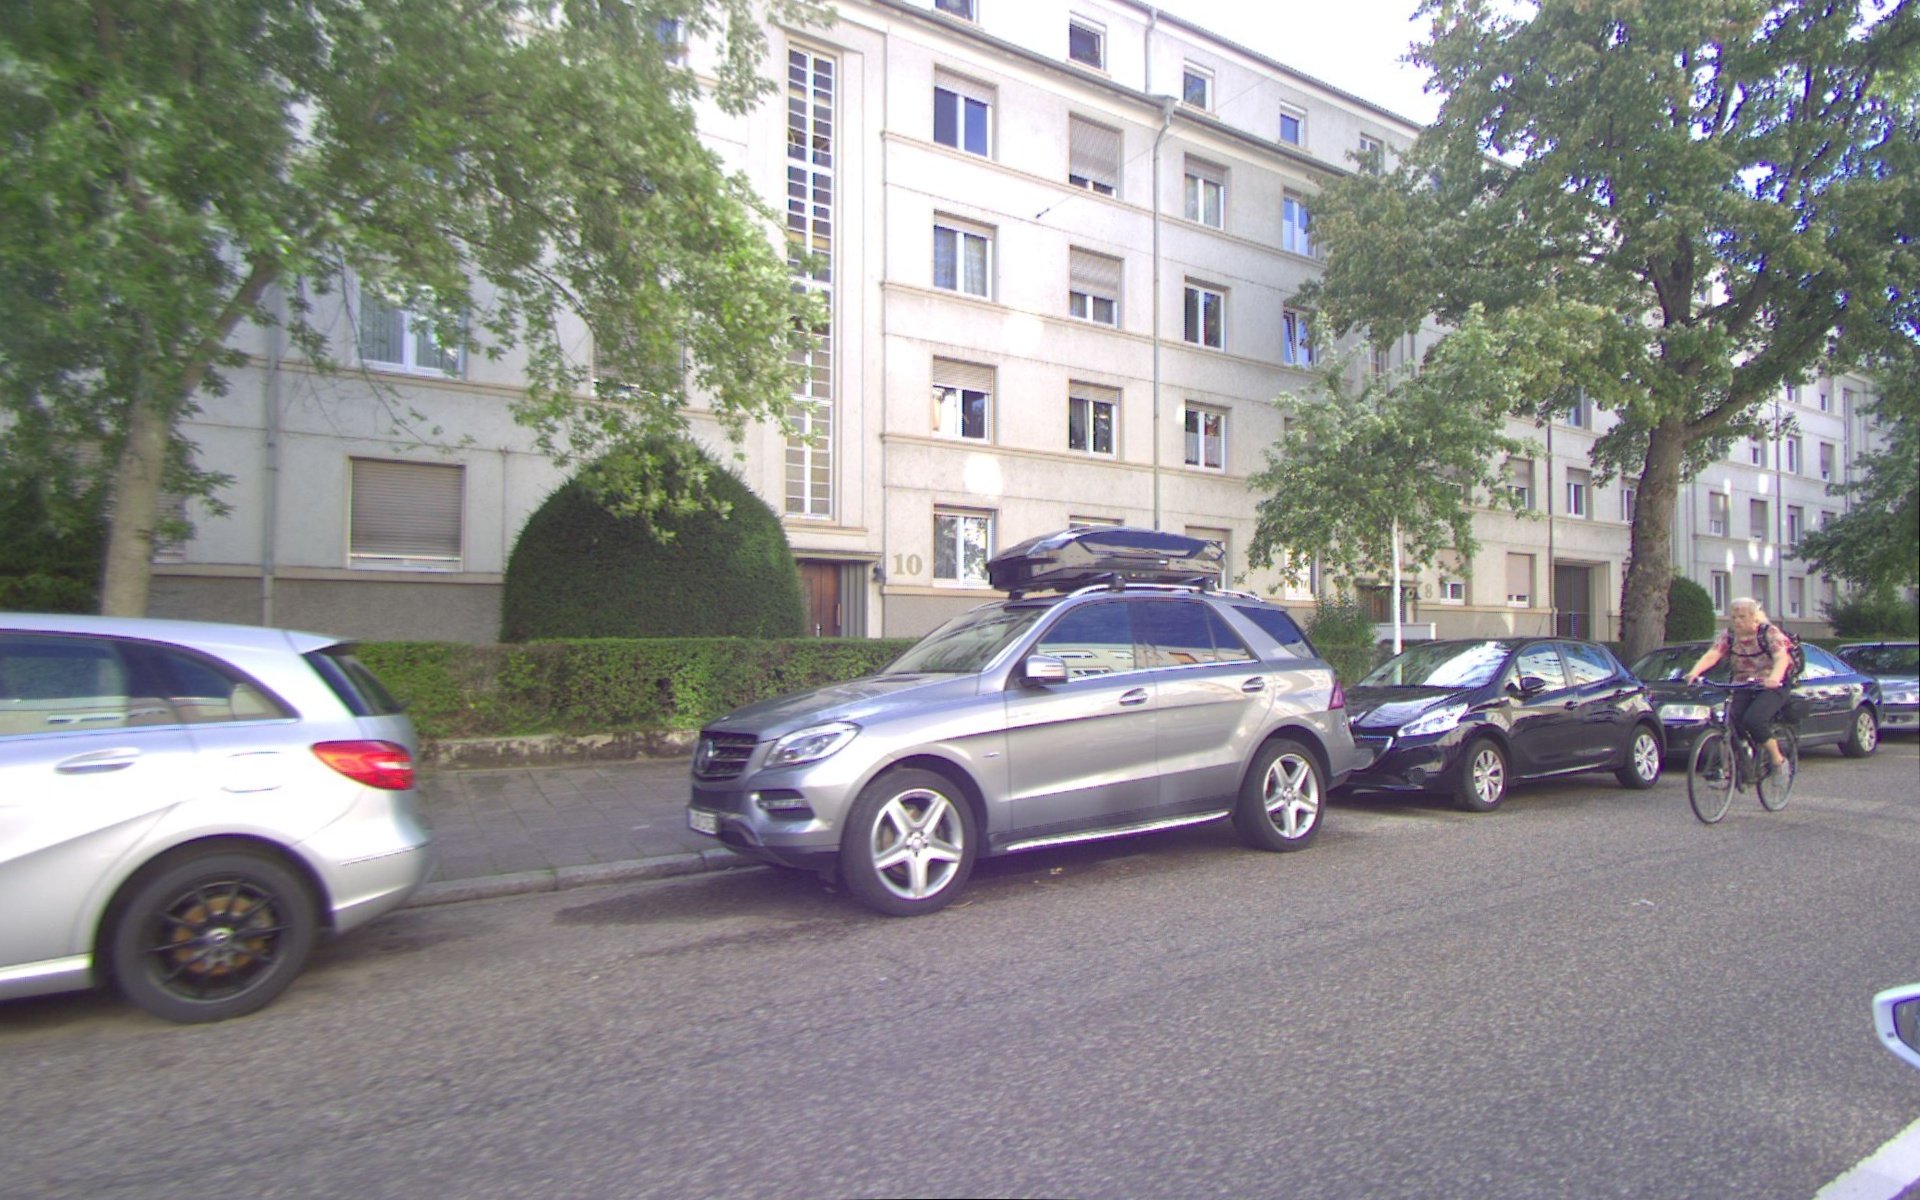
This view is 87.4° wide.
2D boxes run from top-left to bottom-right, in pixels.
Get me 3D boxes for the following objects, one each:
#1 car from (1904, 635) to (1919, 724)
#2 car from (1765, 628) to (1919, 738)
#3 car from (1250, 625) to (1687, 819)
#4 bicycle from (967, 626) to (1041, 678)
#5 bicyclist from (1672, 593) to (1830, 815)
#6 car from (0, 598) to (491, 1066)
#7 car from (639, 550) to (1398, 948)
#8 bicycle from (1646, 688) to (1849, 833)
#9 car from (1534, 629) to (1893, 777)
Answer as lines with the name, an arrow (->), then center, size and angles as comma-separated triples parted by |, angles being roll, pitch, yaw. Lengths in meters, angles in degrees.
car -> 18.017, 1.311, 17.316 | 3.971, 1.487, 1.605 | 1, -5, -33
car -> 13.771, 1.188, 14.891 | 3.920, 1.437, 1.593 | 1, -5, -32
car -> 4.884, 1.060, 9.558 | 4.069, 1.499, 1.679 | 1, -5, -29
bicycle -> 0.935, 1.084, 21.120 | 1.524, 1.070, 0.539 | 1, -1, -32
bicyclist -> 6.213, 0.783, 7.895 | 0.978, 1.621, 0.638 | 2, -3, -31
car -> -4.327, 0.821, 3.891 | 4.407, 1.593, 1.847 | 1, -3, -30
car -> 0.577, 0.788, 6.730 | 4.916, 1.816, 1.867 | 1, -4, -32
bicycle -> 6.180, 1.202, 7.855 | 1.836, 0.936, 0.639 | 1, -2, -31
car -> 9.041, 1.163, 11.988 | 4.396, 1.499, 1.679 | 1, -5, -28
